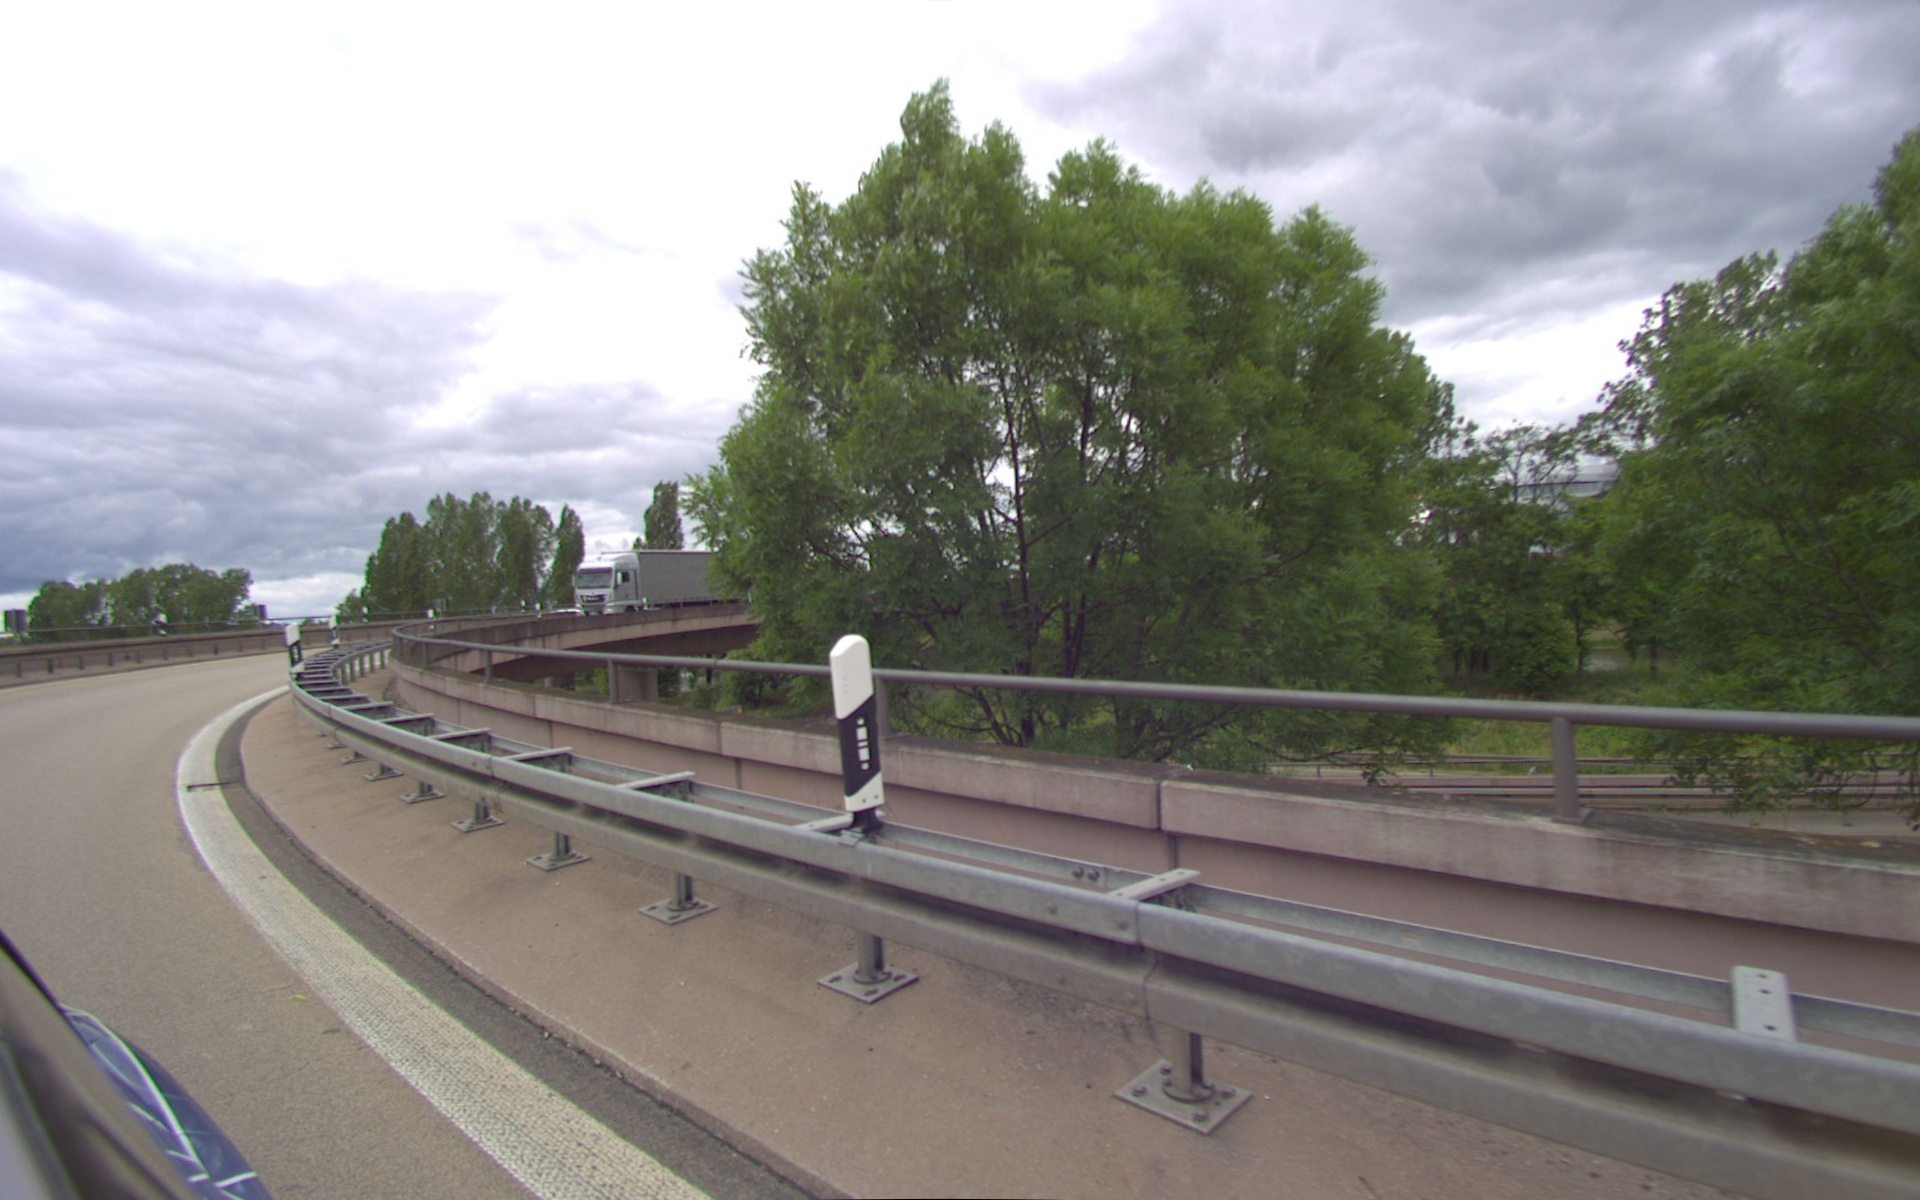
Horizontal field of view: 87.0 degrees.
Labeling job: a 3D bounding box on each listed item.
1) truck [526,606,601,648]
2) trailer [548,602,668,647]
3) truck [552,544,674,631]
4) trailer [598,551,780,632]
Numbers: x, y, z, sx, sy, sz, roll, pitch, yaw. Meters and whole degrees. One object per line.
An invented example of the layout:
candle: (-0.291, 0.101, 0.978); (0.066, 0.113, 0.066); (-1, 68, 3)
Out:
truck: (-39.126, 2.629, 100.031); (6.121, 3.673, 2.734); (-4, 0, 4)
trailer: (-34.609, 2.355, 99.604); (10.865, 3.677, 2.746); (-4, 0, 5)
truck: (-18.435, -0.704, 54.202); (2.716, 4.260, 6.161); (-4, 0, 20)
trailer: (-15.834, -0.634, 60.978); (2.732, 4.269, 13.344); (-4, 0, 23)
